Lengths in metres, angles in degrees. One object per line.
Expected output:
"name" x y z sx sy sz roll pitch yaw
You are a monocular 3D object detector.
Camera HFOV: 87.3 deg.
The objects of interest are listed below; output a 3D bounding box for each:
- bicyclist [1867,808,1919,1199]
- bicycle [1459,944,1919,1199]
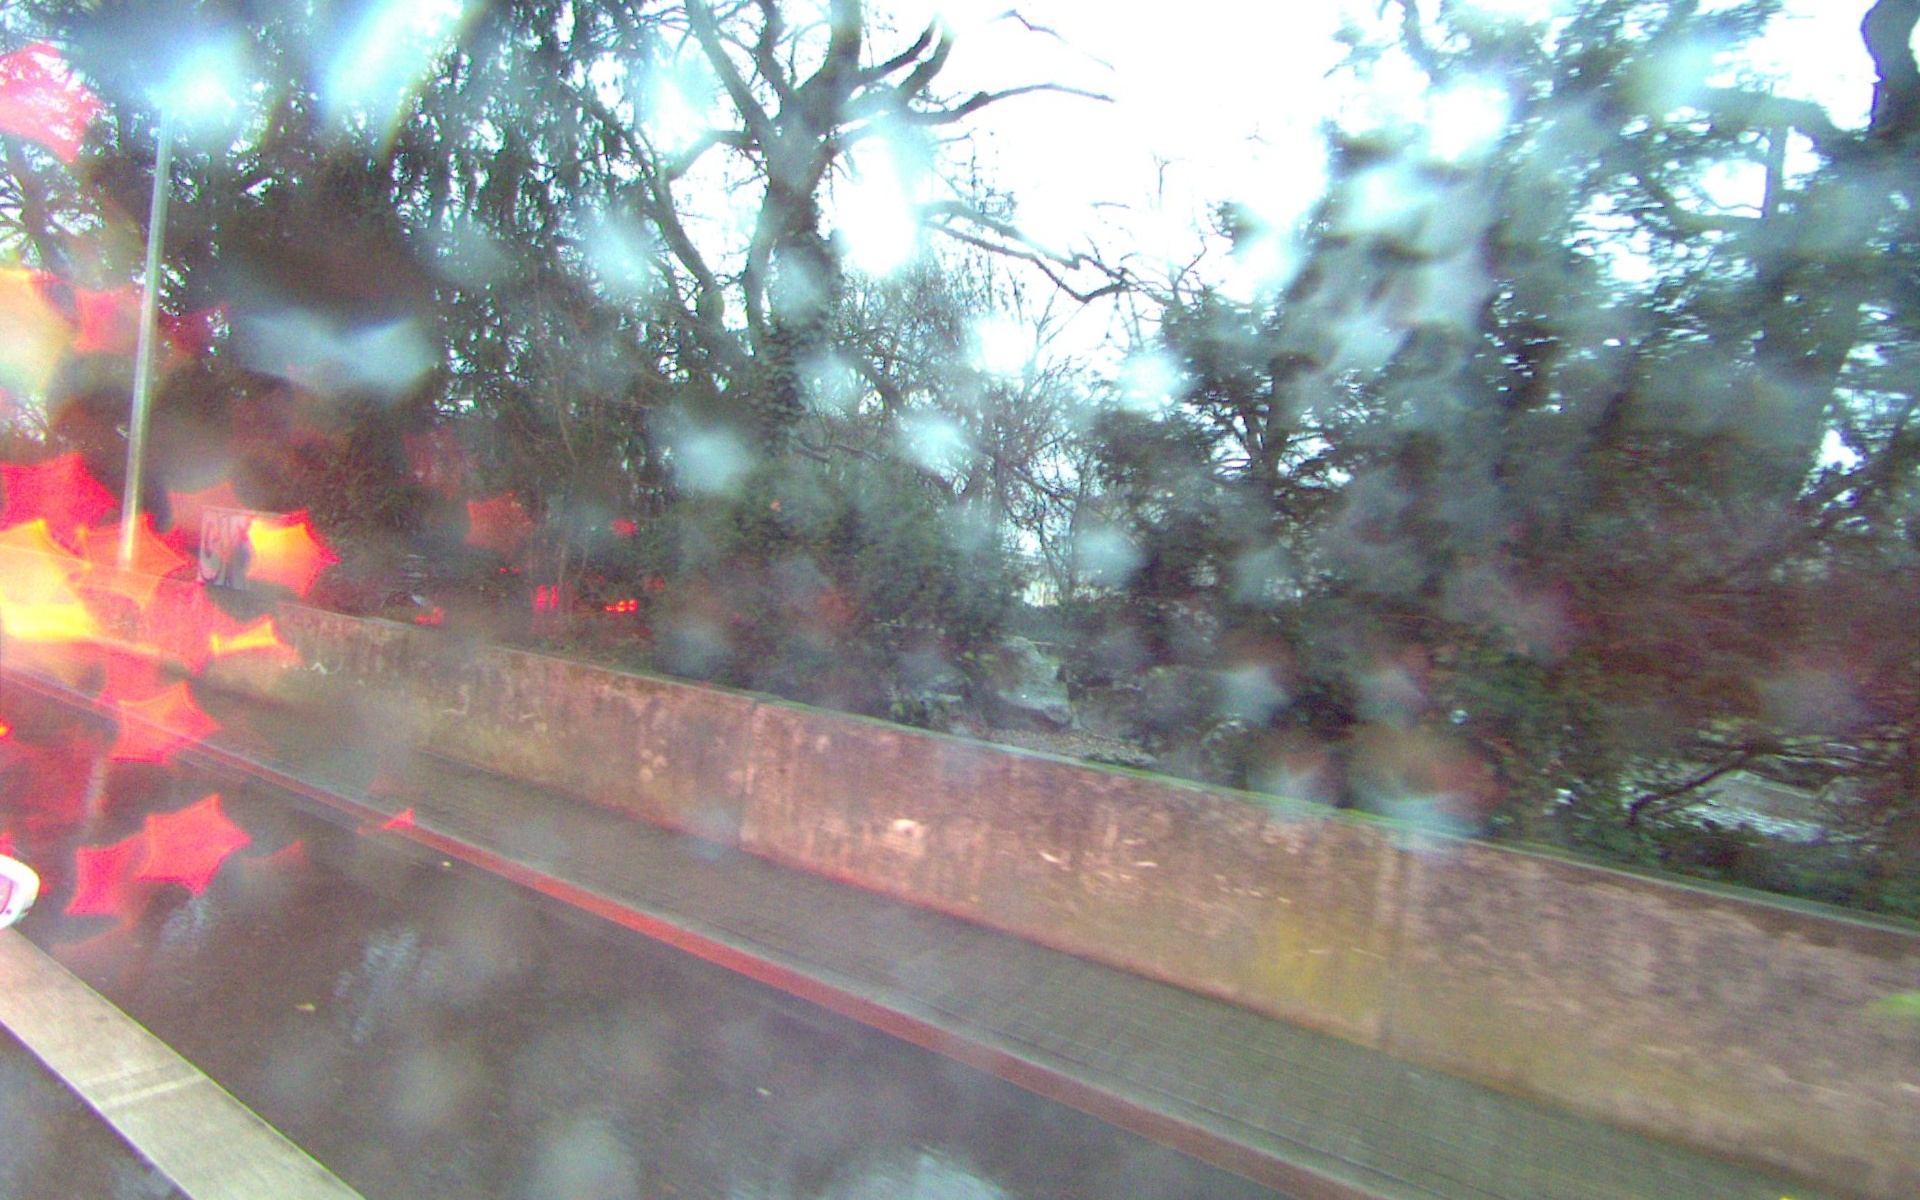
"bicyclist" 1.746 0.782 1.179 0.876 1.406 0.645 7 1 34
"bicycle" 1.702 1.247 1.176 2.014 0.979 0.645 7 1 34
